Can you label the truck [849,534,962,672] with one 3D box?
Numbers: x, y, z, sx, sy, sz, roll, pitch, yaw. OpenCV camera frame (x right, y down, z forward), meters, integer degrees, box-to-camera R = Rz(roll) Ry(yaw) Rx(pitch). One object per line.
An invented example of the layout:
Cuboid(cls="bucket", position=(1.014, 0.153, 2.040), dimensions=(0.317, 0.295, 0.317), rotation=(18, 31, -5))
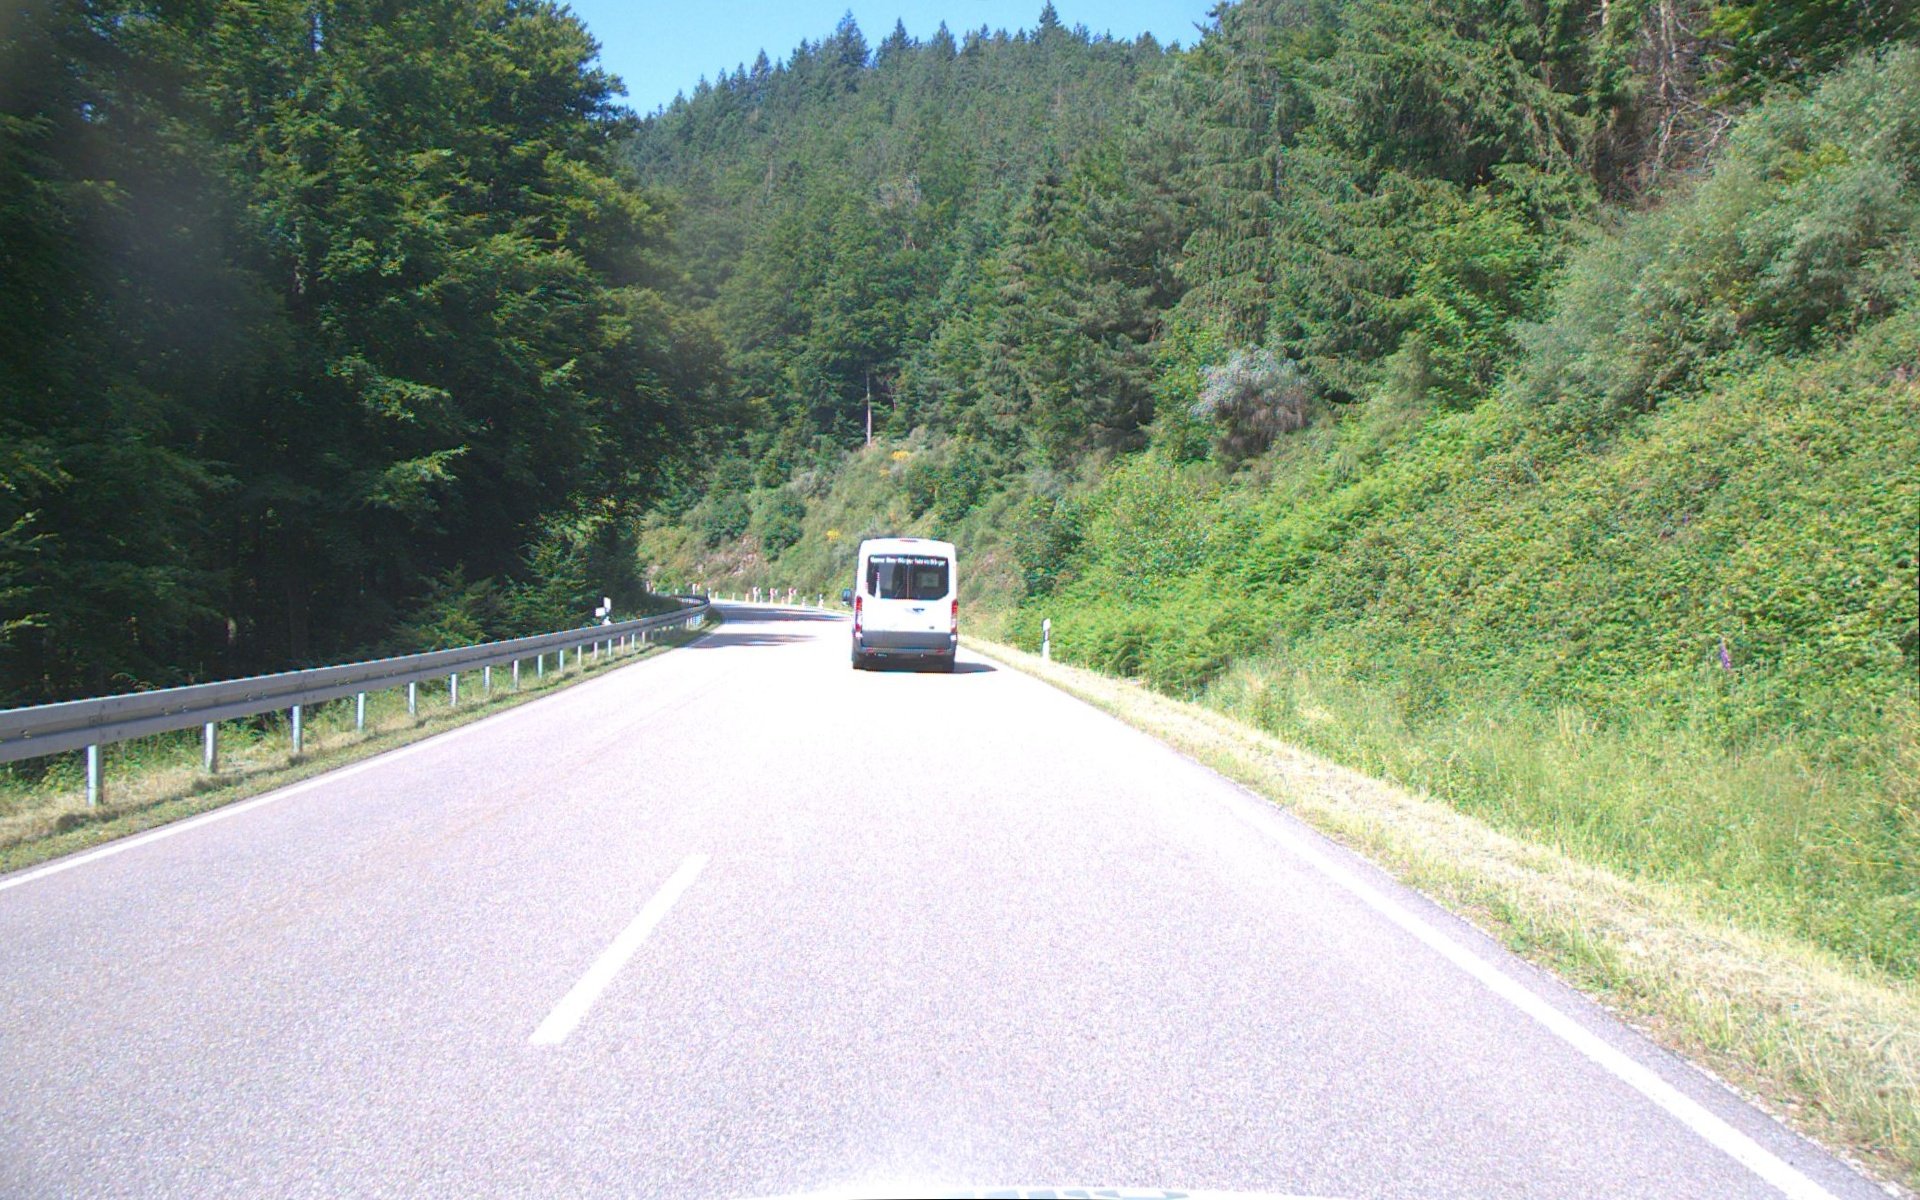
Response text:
Cuboid(cls="truck", position=(-1.126, 0.036, 32.994), dimensions=(2.042, 2.502, 4.872), rotation=(1, 0, -3))
